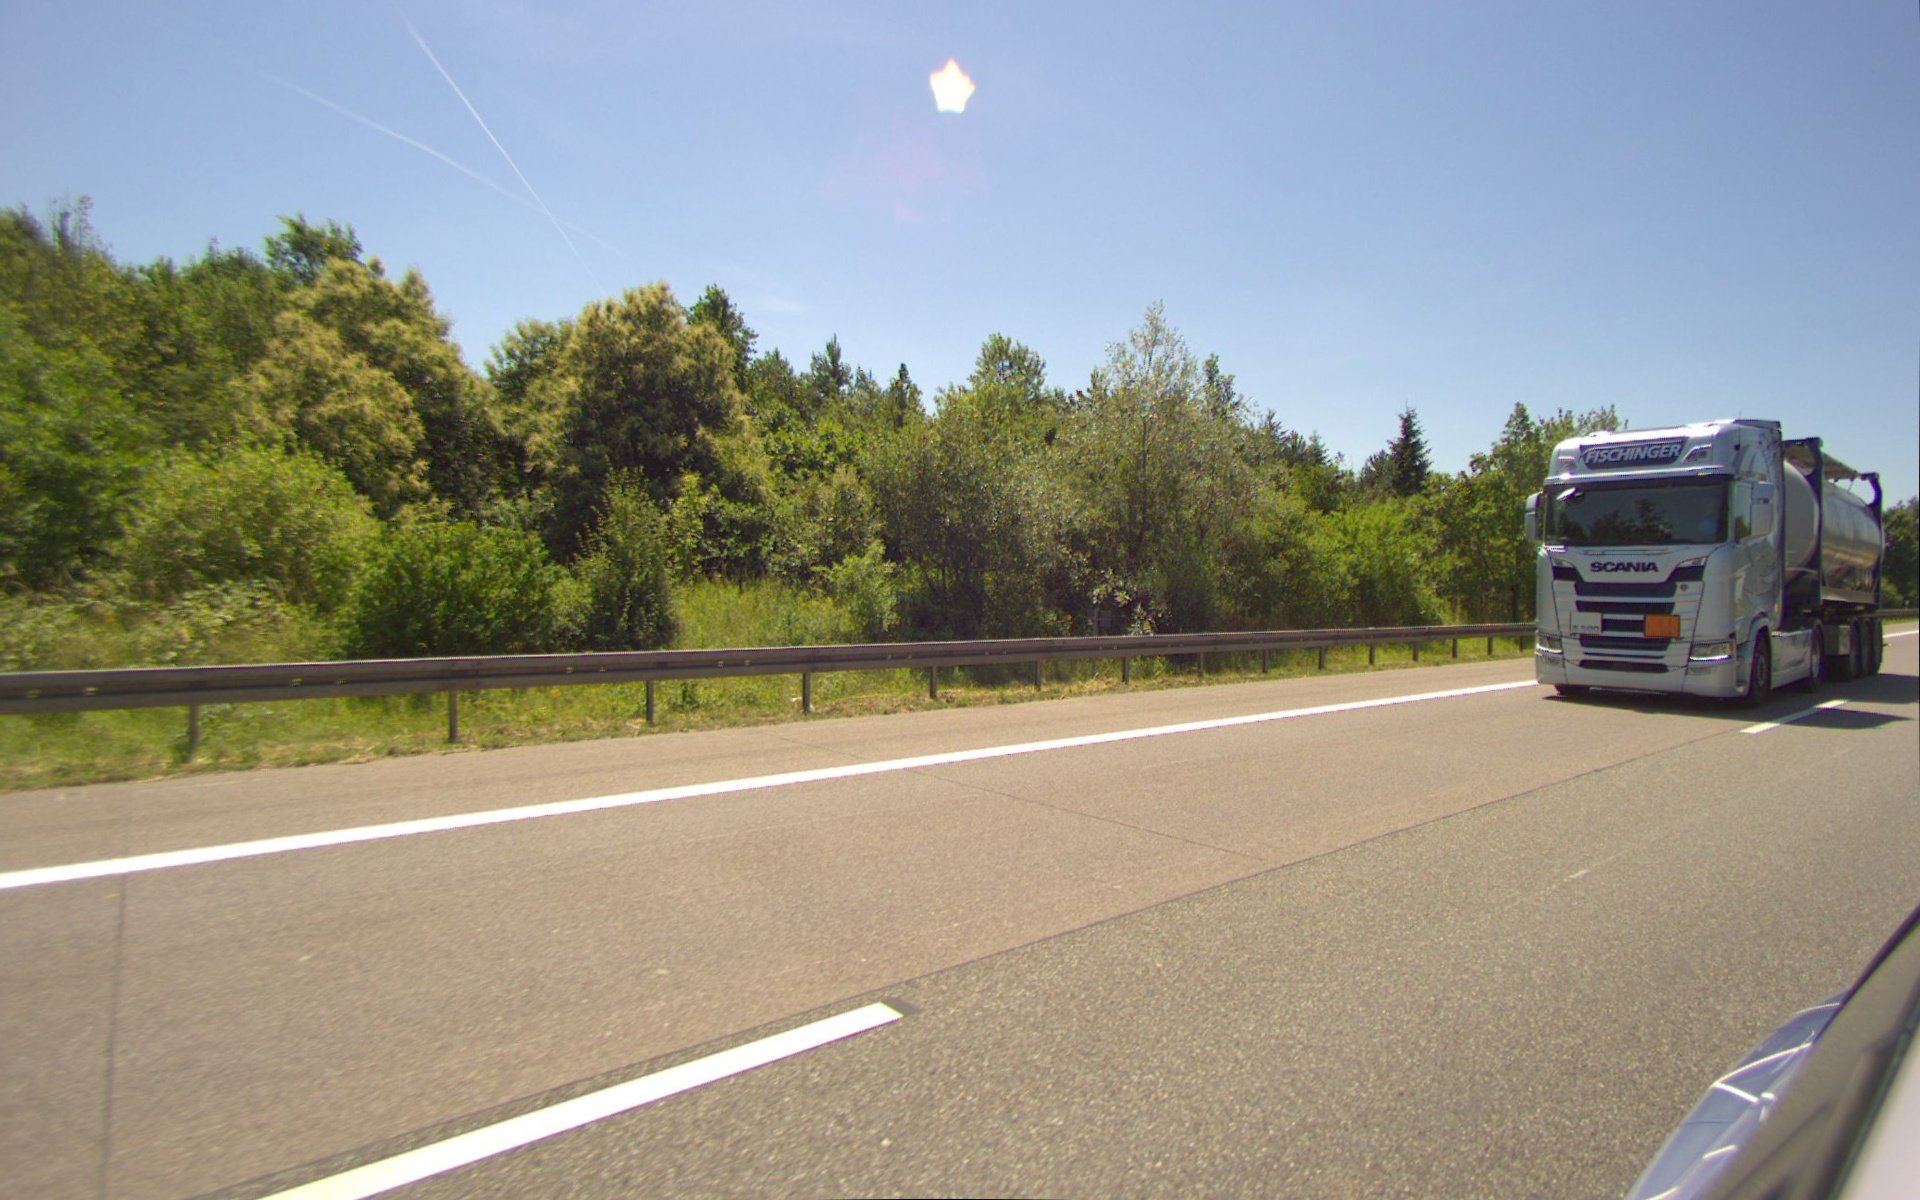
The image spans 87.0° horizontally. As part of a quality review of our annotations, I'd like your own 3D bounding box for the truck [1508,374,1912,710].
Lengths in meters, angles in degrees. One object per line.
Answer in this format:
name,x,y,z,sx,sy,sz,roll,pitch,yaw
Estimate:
truck,13.759,-0.770,17.709,13.119,4.097,2.804,-1,0,-40
